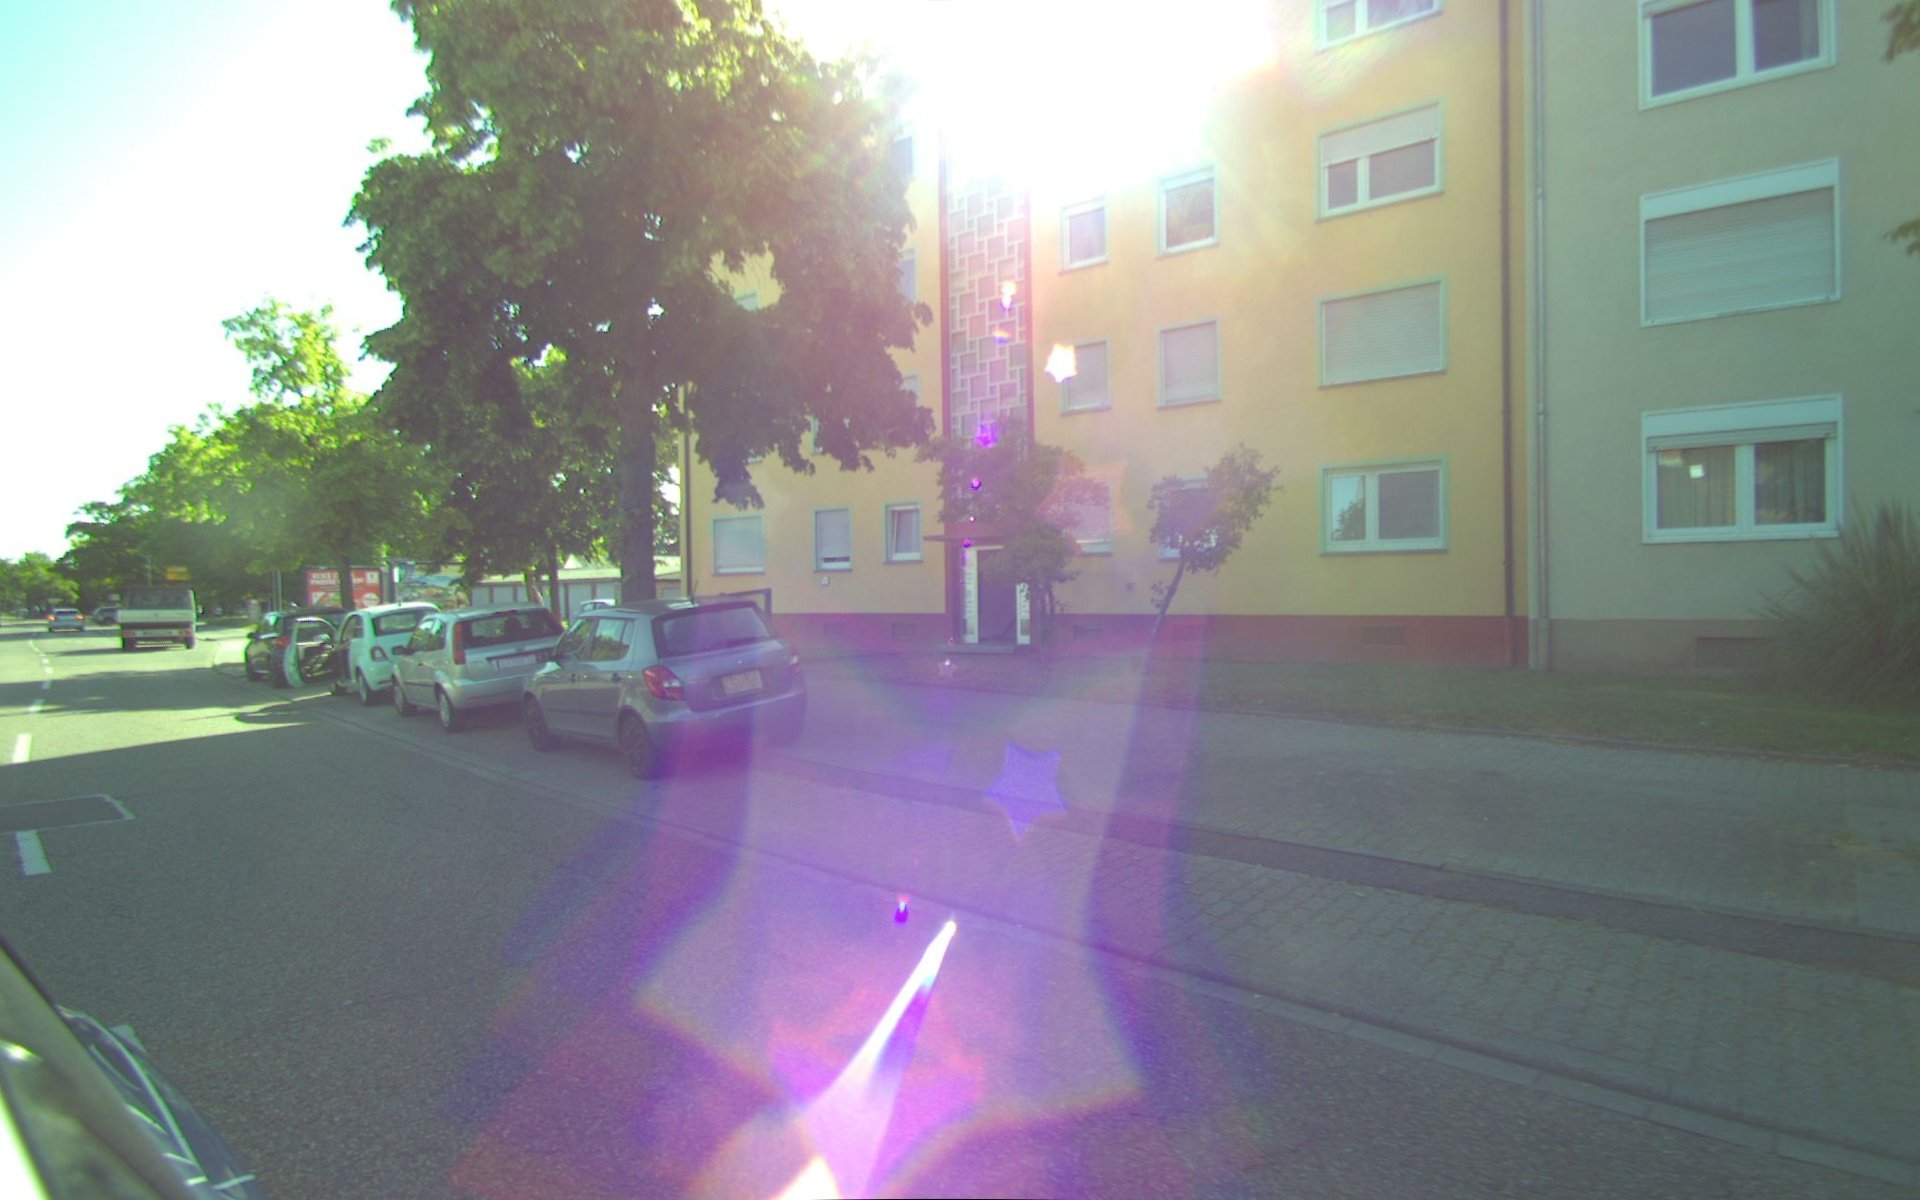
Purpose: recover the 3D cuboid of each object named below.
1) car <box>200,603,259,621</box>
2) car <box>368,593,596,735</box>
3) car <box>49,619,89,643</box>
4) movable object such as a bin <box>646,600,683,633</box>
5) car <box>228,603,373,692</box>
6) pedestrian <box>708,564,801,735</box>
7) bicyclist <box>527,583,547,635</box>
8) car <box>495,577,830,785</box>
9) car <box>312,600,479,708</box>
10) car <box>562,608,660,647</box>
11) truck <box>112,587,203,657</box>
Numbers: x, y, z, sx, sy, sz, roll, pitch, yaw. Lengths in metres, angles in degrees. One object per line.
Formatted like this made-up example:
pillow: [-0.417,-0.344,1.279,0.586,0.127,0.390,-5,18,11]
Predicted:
car: [-64.891,1.070,89.948,1.709,1.580,3.949,-1,-1,38]
car: [-6.516,0.740,13.574,1.638,1.521,4.006,-5,3,-41]
car: [-58.281,1.985,66.188,1.815,1.500,4.894,0,0,-43]
movable object such as a bin: [-8.356,0.474,28.610,0.745,0.917,0.690,-2,-1,39]
car: [-13.541,0.883,20.686,1.681,1.491,4.055,-4,4,-44]
pedestrian: [-2.181,0.488,10.735,0.677,1.731,0.721,0,1,-43]
bicyclist: [-13.959,0.280,33.381,0.379,1.698,0.387,-2,0,16]
car: [-3.083,0.659,9.968,1.549,1.541,3.923,-6,3,-41]
car: [-9.680,0.813,17.208,1.679,1.534,4.058,1,0,-41]
car: [-13.836,1.090,40.058,3.872,1.475,1.714,-2,-1,35]
truck: [-29.451,0.754,37.326,2.101,2.352,6.459,0,0,-34]
